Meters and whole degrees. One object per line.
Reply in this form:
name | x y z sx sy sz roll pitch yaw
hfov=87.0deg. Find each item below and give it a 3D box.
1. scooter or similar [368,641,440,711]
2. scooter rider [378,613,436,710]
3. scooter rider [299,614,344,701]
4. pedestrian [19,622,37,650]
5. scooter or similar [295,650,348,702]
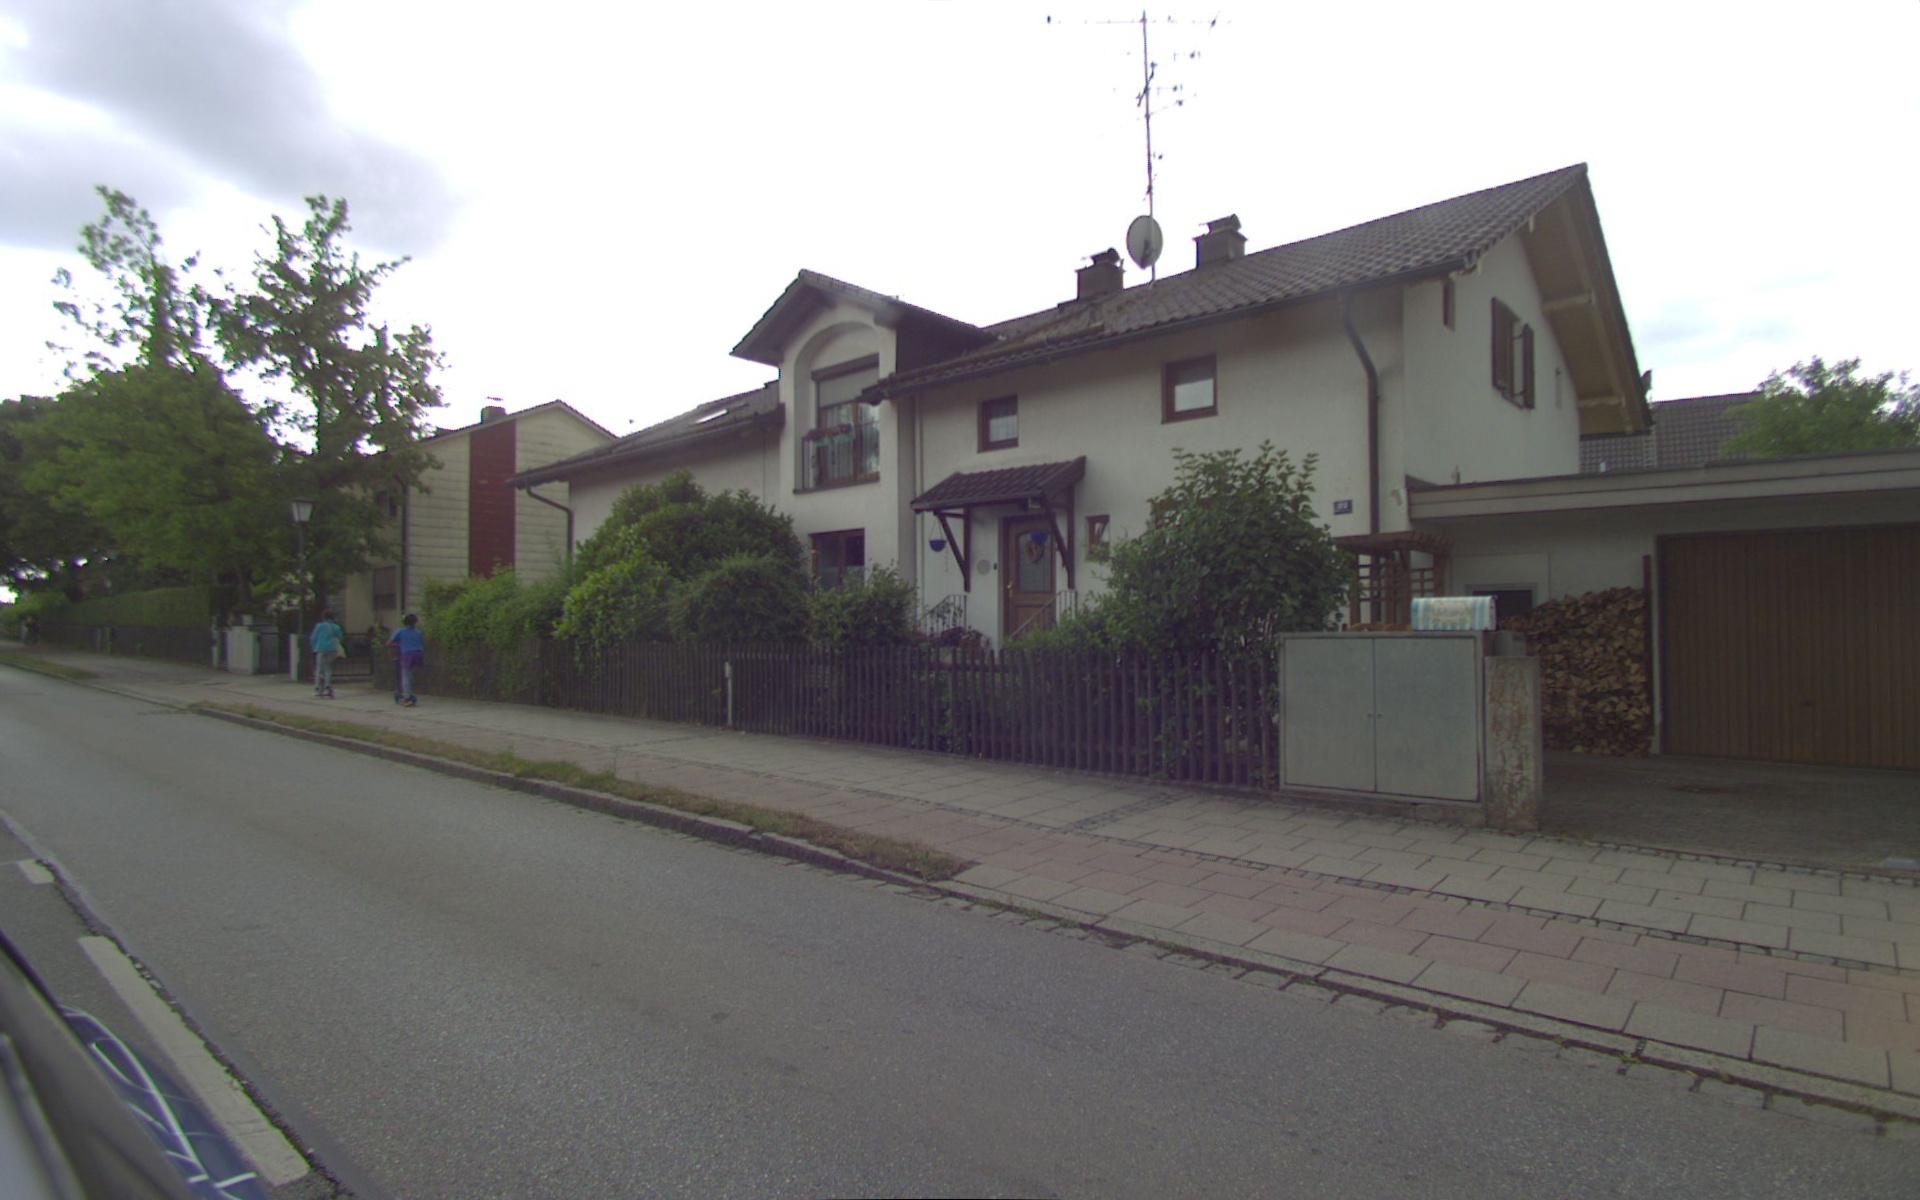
scooter or similar | -8.846 1.179 16.090 1.178 1.045 0.654 -1 -2 42
scooter rider | -8.749 0.956 16.021 0.580 1.484 0.655 -2 -2 41
scooter rider | -11.276 1.004 17.879 0.716 1.501 0.497 -2 -1 42
pedestrian | -49.053 1.877 53.241 0.563 1.448 0.623 -1 -2 41
scooter or similar | -11.268 1.332 17.860 1.061 0.856 0.516 -1 -1 42
